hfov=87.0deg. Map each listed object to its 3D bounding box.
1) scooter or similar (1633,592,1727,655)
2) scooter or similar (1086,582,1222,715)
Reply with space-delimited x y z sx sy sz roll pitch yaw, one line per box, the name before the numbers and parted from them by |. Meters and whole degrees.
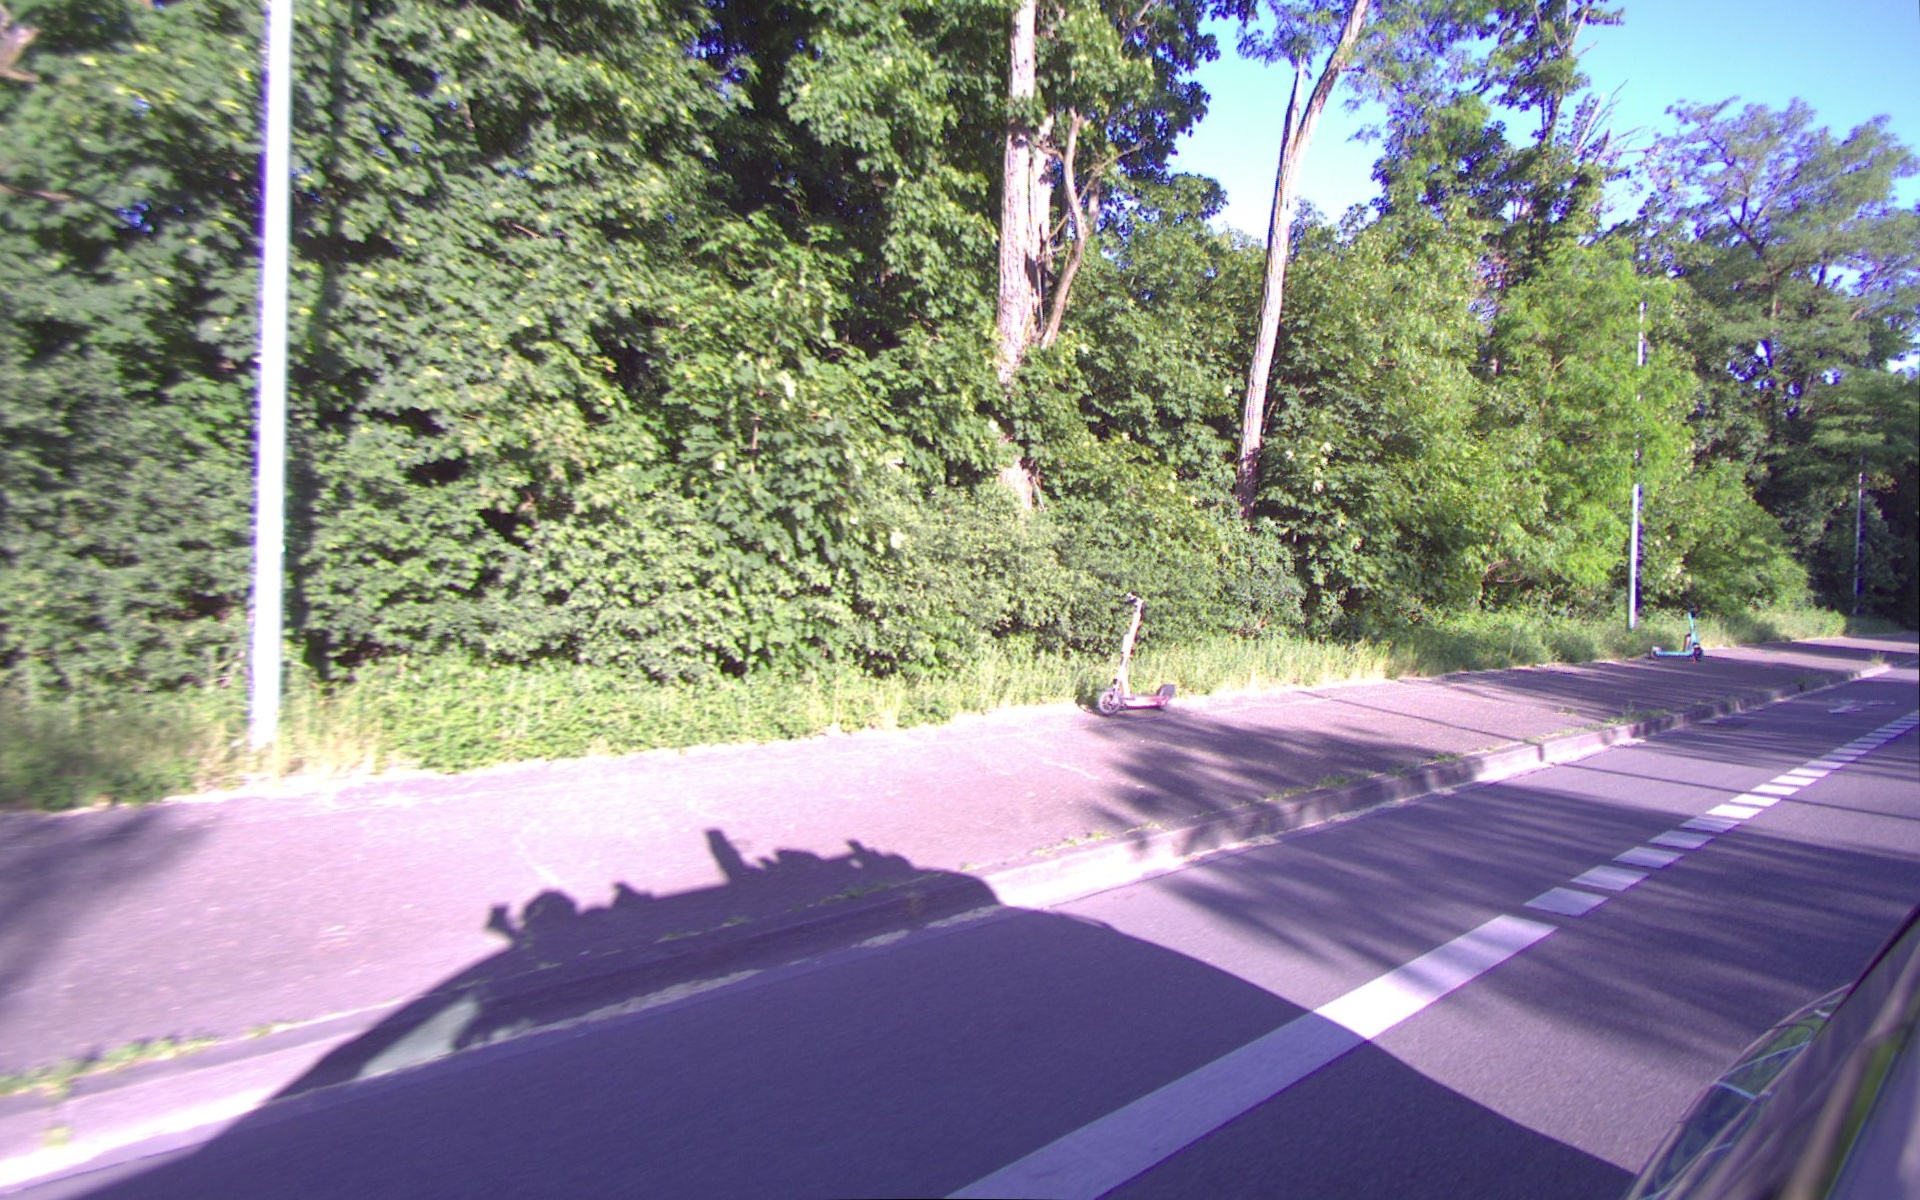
scooter or similar | 15.444 0.491 21.735 1.515 1.265 0.534 2 1 7
scooter or similar | 2.021 0.463 10.450 1.514 1.265 0.534 0 2 -41
